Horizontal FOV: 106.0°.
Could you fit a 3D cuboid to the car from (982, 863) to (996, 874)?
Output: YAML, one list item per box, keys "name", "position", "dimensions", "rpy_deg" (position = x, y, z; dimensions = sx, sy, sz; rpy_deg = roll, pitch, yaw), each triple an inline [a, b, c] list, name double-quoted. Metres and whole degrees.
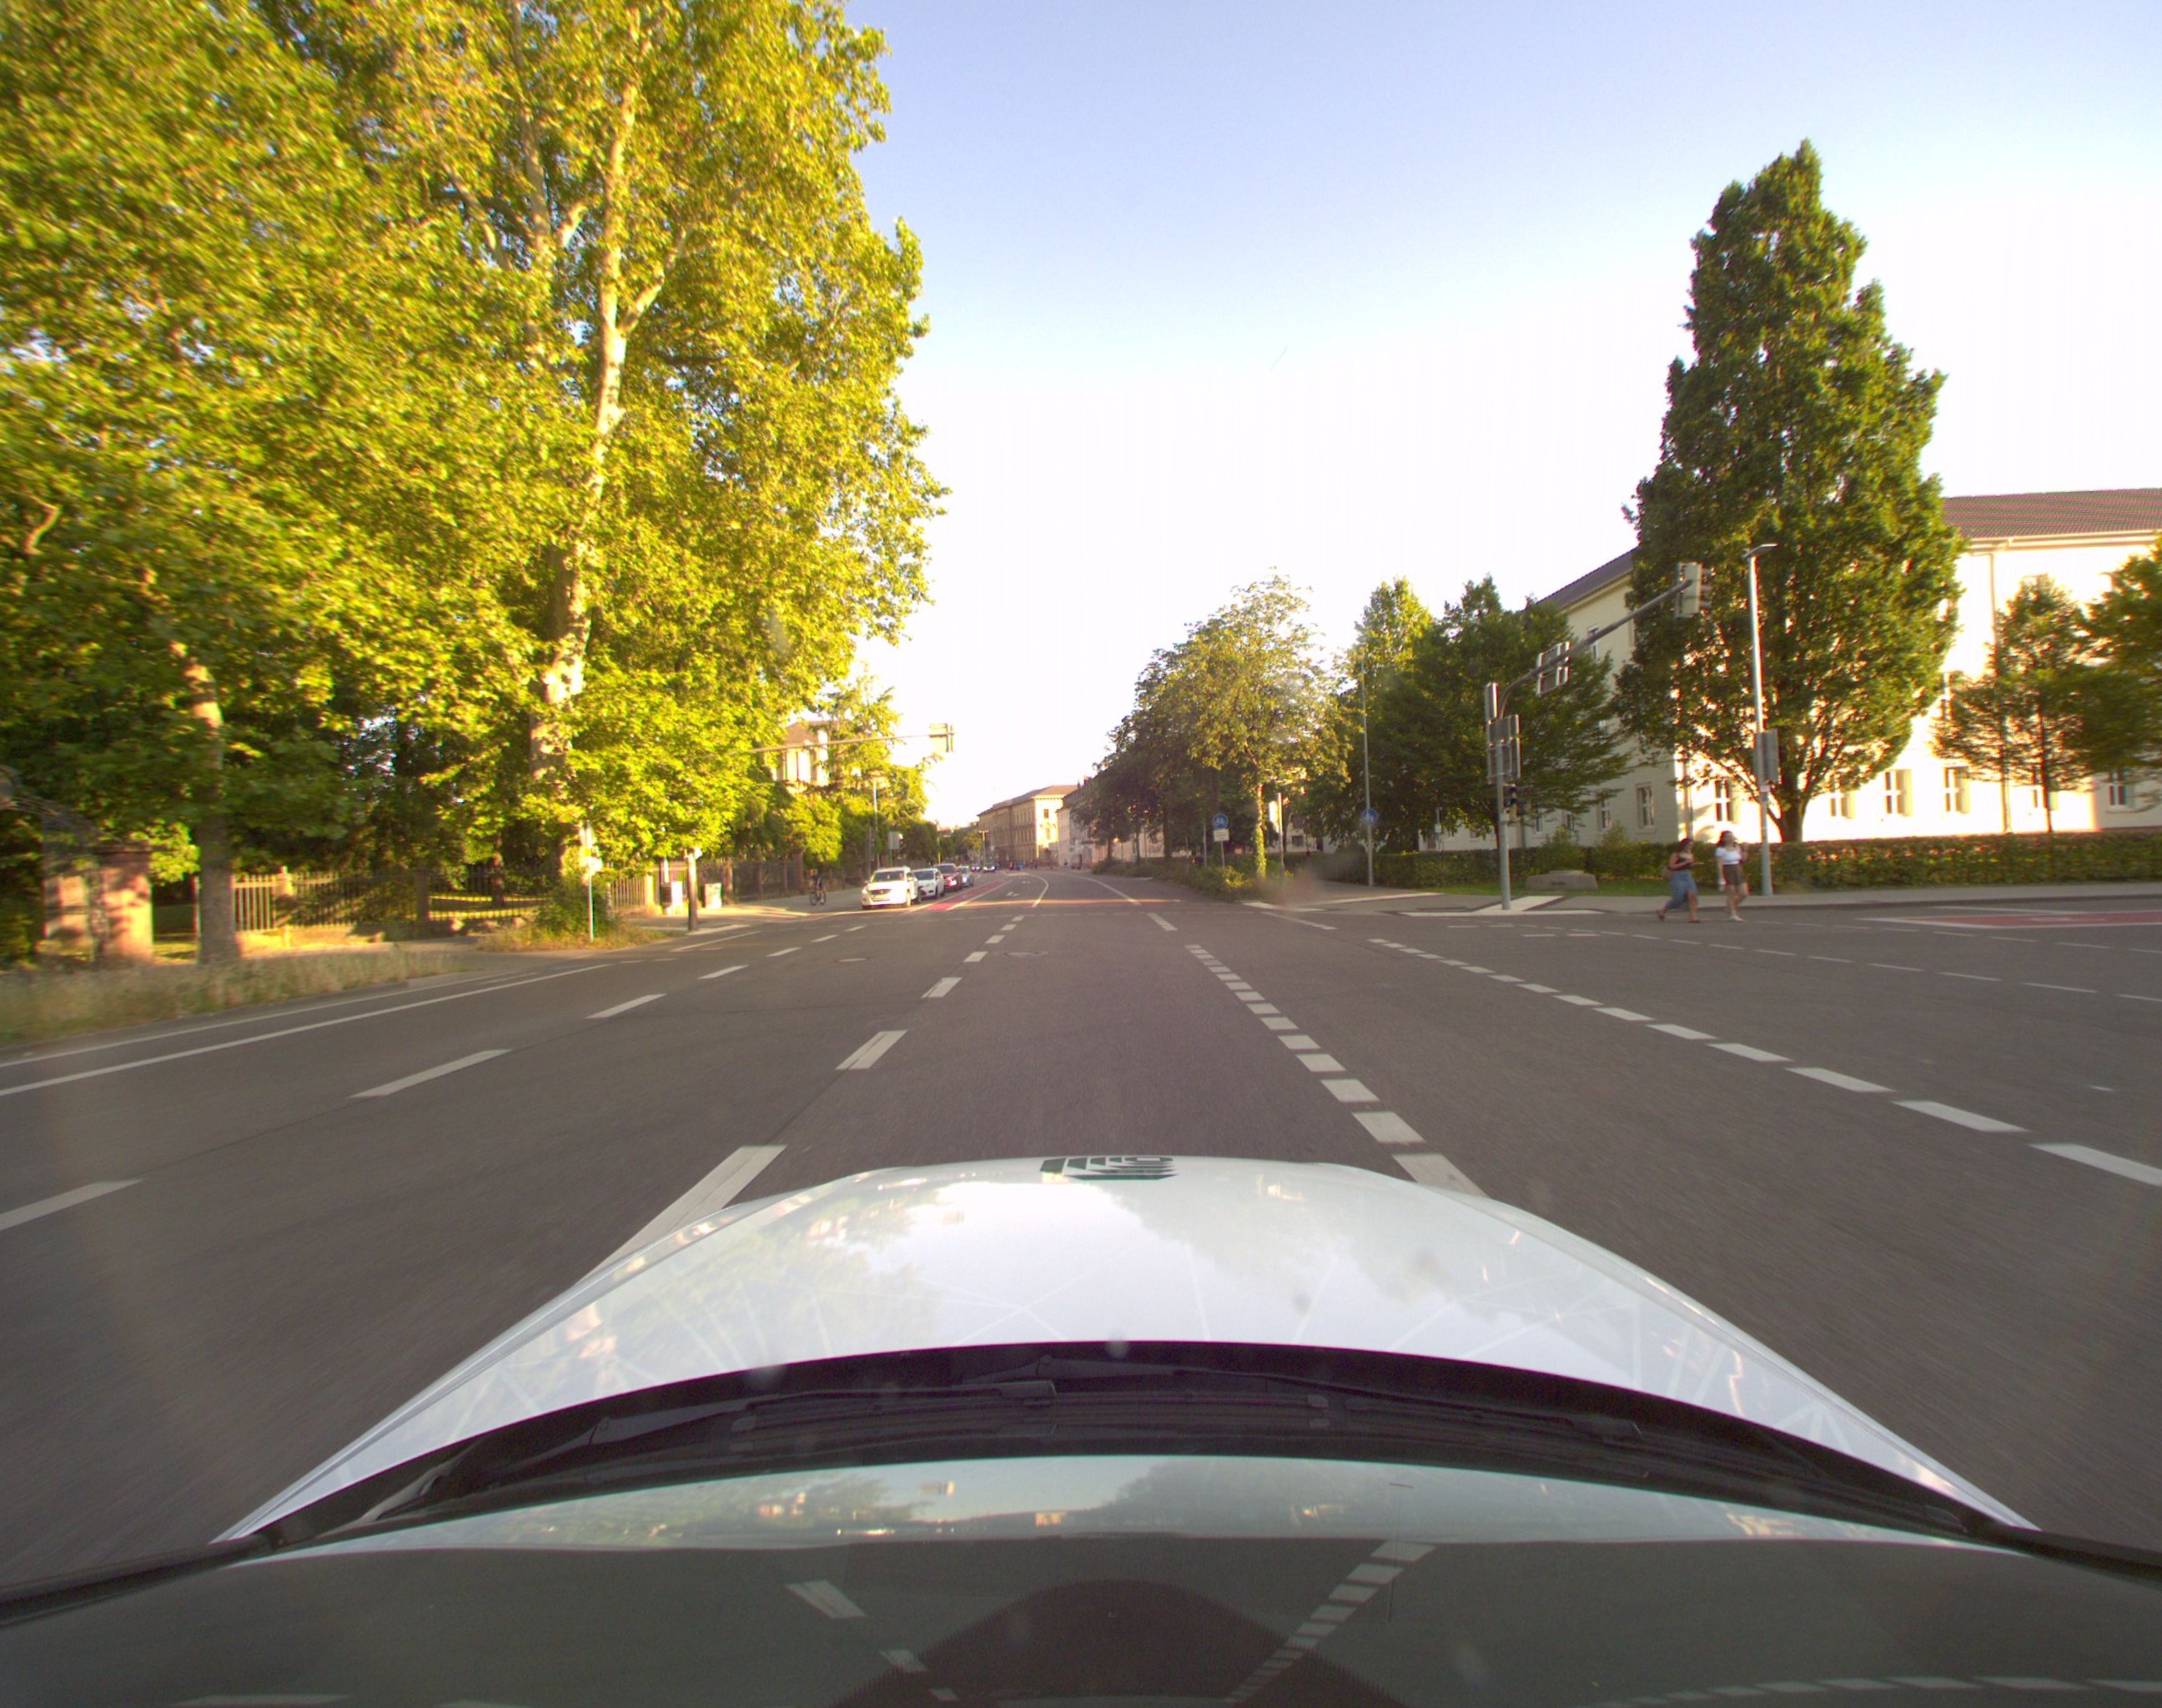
- name: "car"
  position: [-14.373, 2.231, 126.925]
  dimensions: [1.849, 1.526, 3.985]
  rpy_deg: [-4, 0, -10]

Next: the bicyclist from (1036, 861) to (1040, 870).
- name: "bicyclist"
  position: [-7.390, 1.957, 140.596]
  dimensions: [0.651, 1.475, 0.938]
  rpy_deg: [0, -1, -7]

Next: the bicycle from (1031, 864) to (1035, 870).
- name: "bicycle"
  position: [-8.329, 2.277, 140.643]
  dimensions: [0.651, 1.015, 2.192]
  rpy_deg: [0, -1, -7]

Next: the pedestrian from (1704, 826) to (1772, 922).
- name: "pedestrian"
  position: [12.472, 0.376, 15.466]
  dimensions: [0.678, 1.754, 0.689]
  rpy_deg: [-2, 0, 1]

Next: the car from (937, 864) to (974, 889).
- name: "car"
  position: [-8.479, 1.498, 55.335]
  dimensions: [1.912, 1.418, 4.765]
  rpy_deg: [-4, 0, -3]

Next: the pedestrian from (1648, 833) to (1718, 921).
- name: "pedestrian"
  position: [11.590, 0.437, 15.696]
  dimensions: [0.678, 1.622, 0.845]
  rpy_deg: [-2, 0, 1]

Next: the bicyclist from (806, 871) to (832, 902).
- name: "bicyclist"
  position: [-12.419, 1.531, 38.571]
  dimensions: [0.852, 1.431, 0.944]
  rpy_deg: [-2, -1, 1]

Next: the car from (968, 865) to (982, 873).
- name: "car"
  position: [-19.903, 2.809, 152.784]
  dimensions: [1.840, 1.439, 3.977]
  rpy_deg: [-4, 0, -17]

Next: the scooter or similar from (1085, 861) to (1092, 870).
- name: "scooter or similar"
  position: [1.208, 1.809, 128.670]
  dimensions: [0.630, 1.337, 2.390]
  rpy_deg: [-2, -1, -12]

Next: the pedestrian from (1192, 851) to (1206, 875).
- name: "pedestrian"
  position: [8.709, 0.675, 60.000]
  dimensions: [0.769, 1.739, 0.805]
  rpy_deg: [-2, -1, -8]

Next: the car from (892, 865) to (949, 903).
- name: "car"
  position: [-7.783, 1.404, 39.901]
  dimensions: [1.912, 1.583, 4.669]
  rpy_deg: [-4, 0, -3]

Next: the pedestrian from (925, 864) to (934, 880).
- name: "pedestrian"
  position: [-15.257, 1.810, 82.059]
  dimensions: [0.678, 1.622, 0.689]
  rpy_deg: [-2, -1, 1]

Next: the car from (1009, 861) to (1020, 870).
- name: "car"
  position: [-11.747, 2.108, 143.008]
  dimensions: [1.865, 1.510, 3.992]
  rpy_deg: [-1, -1, -5]

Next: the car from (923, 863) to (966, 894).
- name: "car"
  position: [-8.127, 1.447, 48.847]
  dimensions: [1.912, 1.624, 4.634]
  rpy_deg: [-4, 0, -3]

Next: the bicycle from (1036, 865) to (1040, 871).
- name: "bicycle"
  position: [-7.382, 2.421, 140.586]
  dimensions: [0.651, 1.015, 2.193]
  rpy_deg: [0, -1, -6]

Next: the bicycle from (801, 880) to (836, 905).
- name: "bicycle"
  position: [-12.392, 1.809, 38.533]
  dimensions: [0.852, 1.015, 2.199]
  rpy_deg: [-2, 0, 2]

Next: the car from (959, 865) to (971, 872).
- name: "car"
  position: [-27.811, 3.487, 194.652]
  dimensions: [2.000, 1.585, 3.974]
  rpy_deg: [-2, -1, -19]

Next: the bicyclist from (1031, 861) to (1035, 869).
- name: "bicyclist"
  position: [-8.322, 1.926, 140.619]
  dimensions: [0.651, 1.446, 0.877]
  rpy_deg: [0, -1, -7]

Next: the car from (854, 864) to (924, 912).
- name: "car"
  position: [-7.843, 1.324, 33.710]
  dimensions: [1.912, 1.695, 4.422]
  rpy_deg: [-4, 0, -3]
